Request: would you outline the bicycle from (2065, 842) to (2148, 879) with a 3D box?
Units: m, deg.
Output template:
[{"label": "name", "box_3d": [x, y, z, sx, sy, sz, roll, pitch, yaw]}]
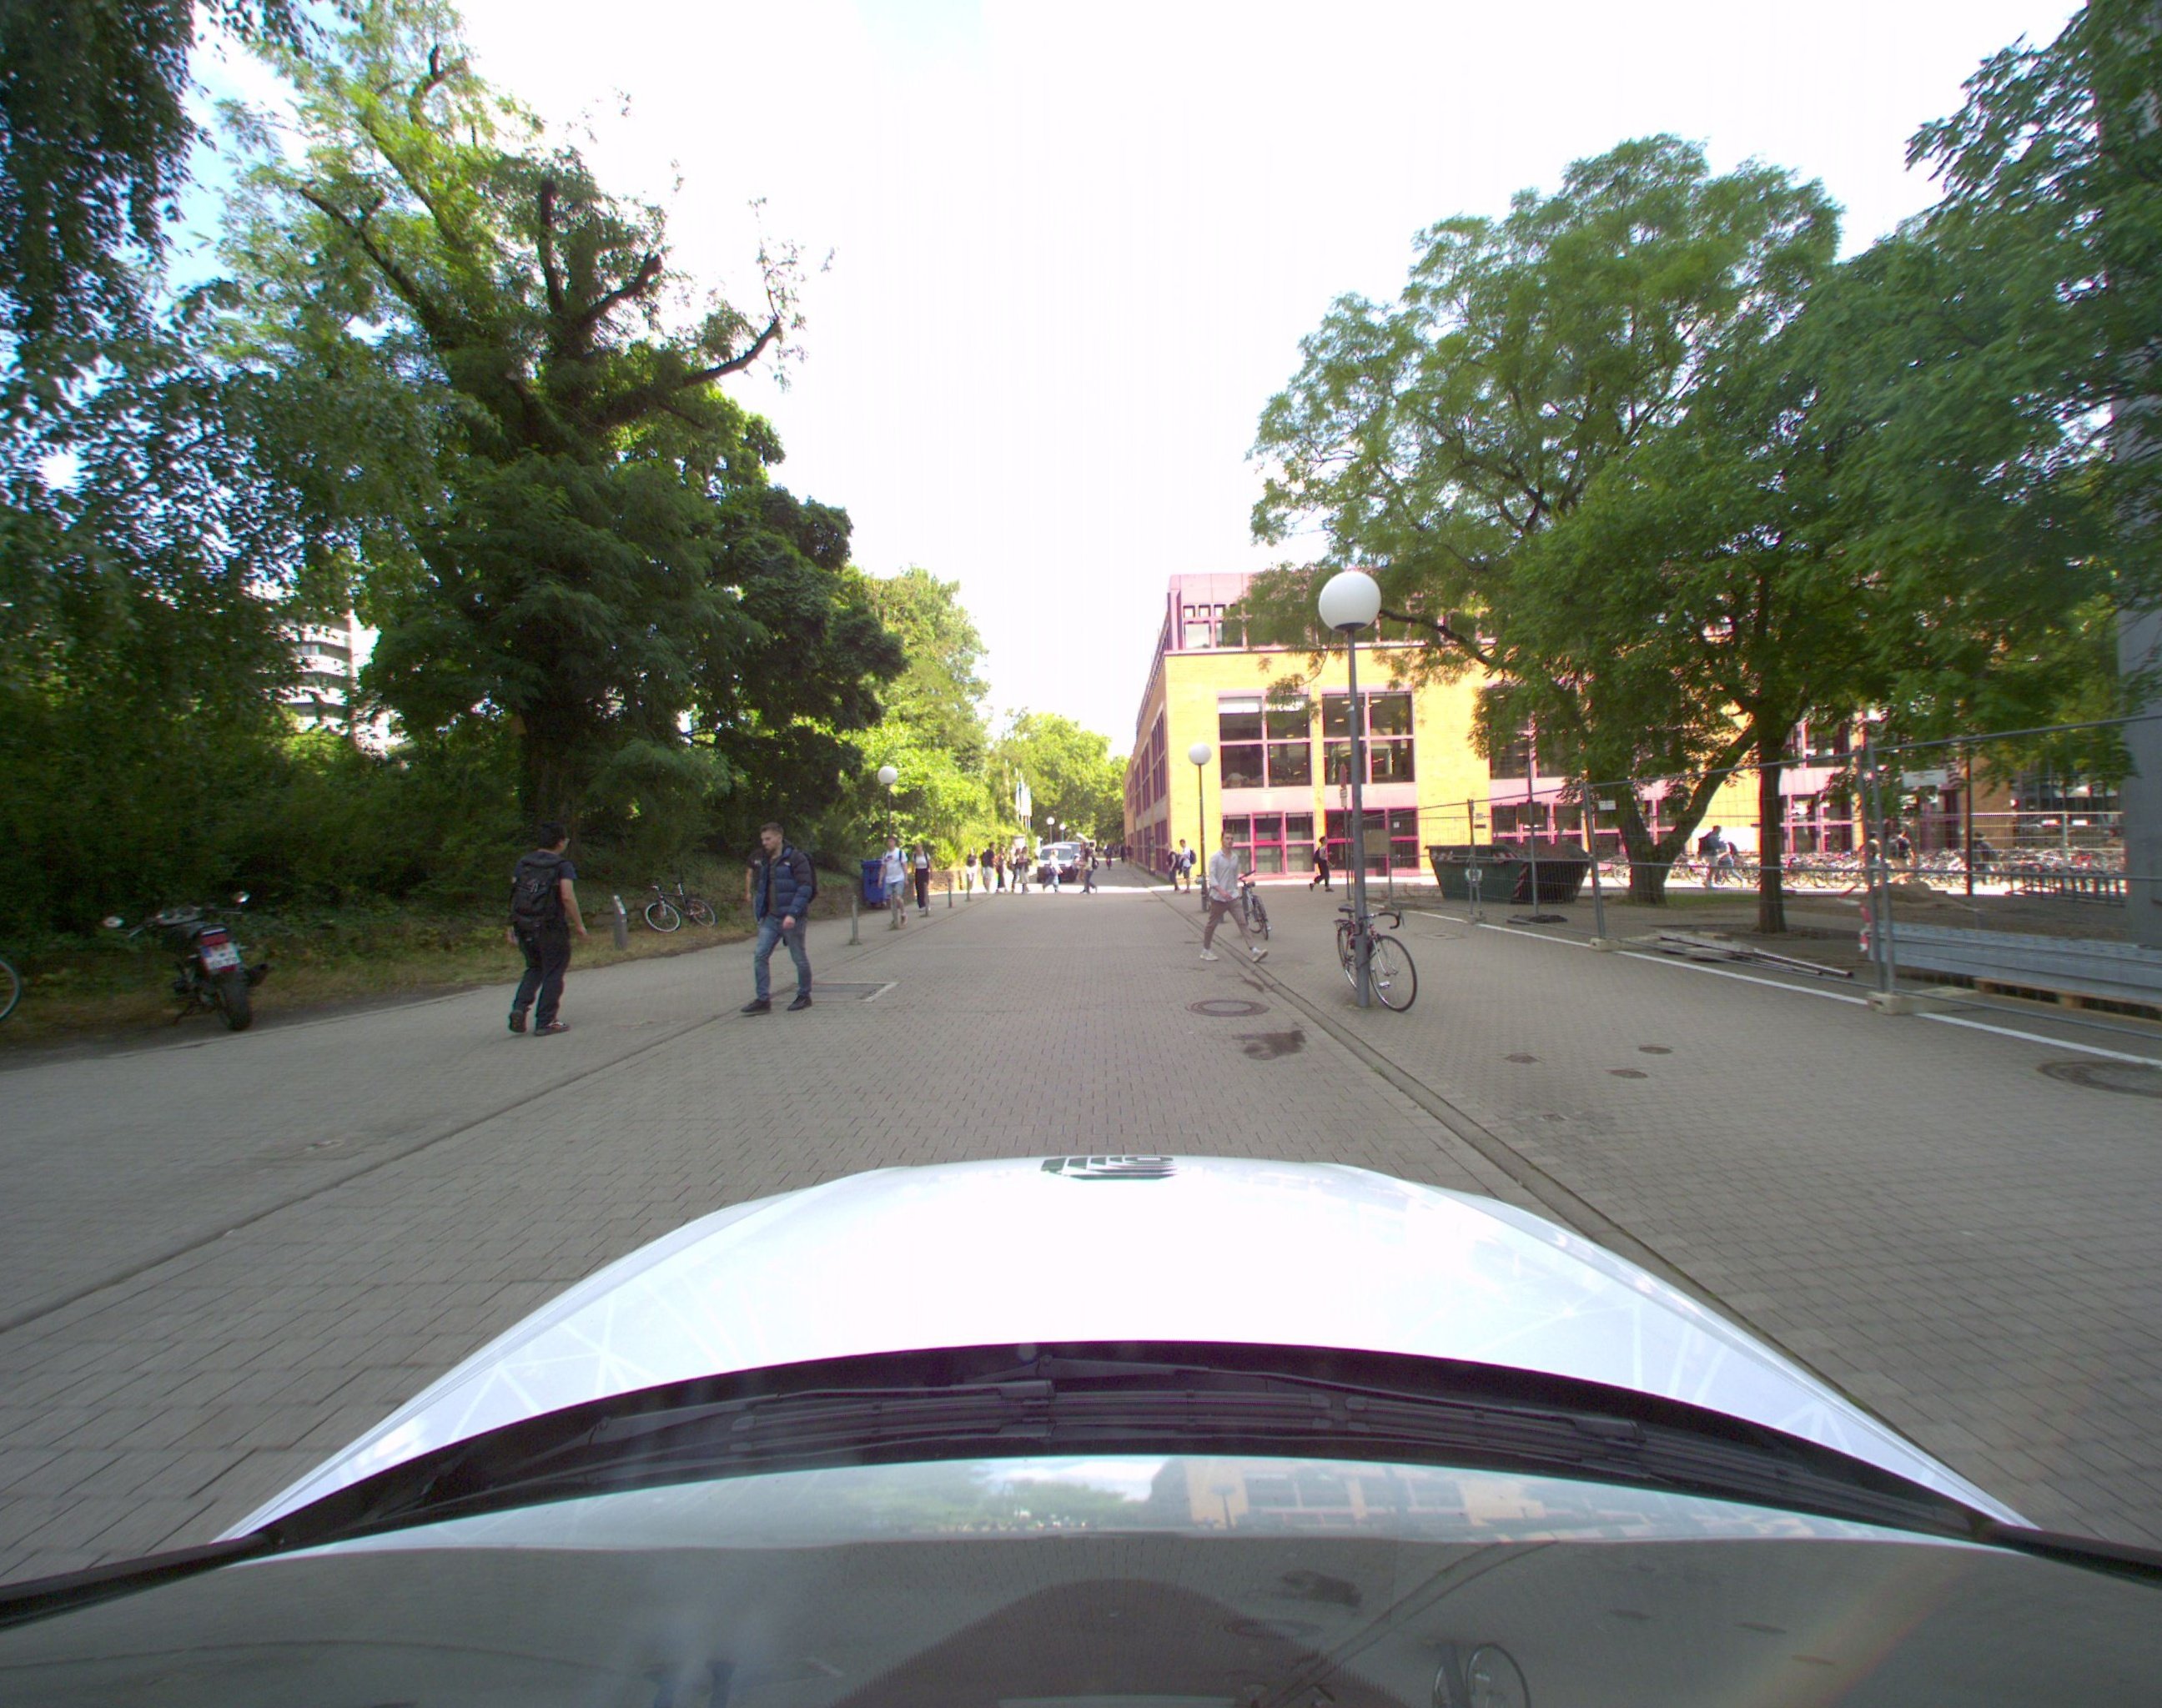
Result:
[{"label": "bicycle", "box_3d": [33.043, 0.197, 26.248, 1.989, 1.169, 0.545, 0, 0, 0]}]

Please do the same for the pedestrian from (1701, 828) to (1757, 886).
[{"label": "pedestrian", "box_3d": [18.922, 0.094, 23.798, 1.038, 1.651, 0.705, -1, -1, 8]}]

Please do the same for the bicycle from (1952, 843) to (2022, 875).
[{"label": "bicycle", "box_3d": [33.268, 0.175, 29.905, 1.989, 1.169, 0.545, 0, 0, 0]}]

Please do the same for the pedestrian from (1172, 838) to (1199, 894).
[{"label": "pedestrian", "box_3d": [3.449, 0.403, 26.826, 0.762, 1.794, 0.589, -3, -1, 9]}]

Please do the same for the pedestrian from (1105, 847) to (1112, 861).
[{"label": "pedestrian", "box_3d": [3.566, -0.005, 105.523, 0.722, 1.672, 0.749, -3, -1, 3]}]

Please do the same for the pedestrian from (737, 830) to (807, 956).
[{"label": "pedestrian", "box_3d": [-4.826, 0.586, 12.780, 0.681, 1.873, 1.119, -1, -1, -3]}]

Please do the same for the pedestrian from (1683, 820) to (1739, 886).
[{"label": "pedestrian", "box_3d": [17.197, -0.012, 22.243, 0.900, 1.728, 0.684, -2, -2, -4]}]

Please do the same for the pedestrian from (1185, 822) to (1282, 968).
[{"label": "pedestrian", "box_3d": [2.037, 0.515, 11.000, 0.786, 1.845, 1.109, -1, 0, -23]}]

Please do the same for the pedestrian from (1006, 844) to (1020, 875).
[{"label": "pedestrian", "box_3d": [-4.104, 0.340, 49.163, 0.680, 1.844, 0.783, -1, -1, 1]}]

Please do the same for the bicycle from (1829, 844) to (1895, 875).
[{"label": "bicycle", "box_3d": [29.735, 0.218, 31.006, 1.989, 1.169, 0.545, 0, 0, 0]}]

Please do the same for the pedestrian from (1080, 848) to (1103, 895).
[{"label": "pedestrian", "box_3d": [0.364, 0.596, 28.583, 0.778, 1.620, 0.684, -1, -1, -1]}]

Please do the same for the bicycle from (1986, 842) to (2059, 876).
[{"label": "bicycle", "box_3d": [33.322, 0.176, 28.832, 1.989, 1.169, 0.545, 0, 0, 0]}]

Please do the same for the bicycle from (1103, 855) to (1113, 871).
[{"label": "bicycle", "box_3d": [1.896, 0.636, 57.905, 0.585, 1.083, 1.906, -2, 0, -2]}]

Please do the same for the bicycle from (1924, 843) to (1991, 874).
[{"label": "bicycle", "box_3d": [33.397, 0.171, 31.049, 1.989, 1.169, 0.545, 0, 0, 0]}]

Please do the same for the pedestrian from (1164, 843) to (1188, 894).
[{"label": "pedestrian", "box_3d": [3.235, 0.499, 27.599, 0.692, 1.672, 0.589, -3, -1, 9]}]

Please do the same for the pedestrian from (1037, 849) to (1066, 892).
[{"label": "pedestrian", "box_3d": [-1.102, 0.597, 30.318, 0.881, 1.542, 0.745, -2, 0, 9]}]

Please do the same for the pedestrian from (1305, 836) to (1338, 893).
[{"label": "pedestrian", "box_3d": [7.140, 0.310, 24.191, 0.847, 1.651, 0.589, -1, -1, 8]}]

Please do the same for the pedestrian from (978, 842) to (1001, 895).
[{"label": "pedestrian", "box_3d": [-3.217, 0.513, 28.705, 0.680, 1.844, 0.783, -1, -1, 1]}]

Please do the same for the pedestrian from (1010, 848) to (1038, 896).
[{"label": "pedestrian", "box_3d": [-2.021, 0.633, 28.897, 0.881, 1.672, 0.560, -1, -1, 8]}]

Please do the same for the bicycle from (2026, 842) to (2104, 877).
[{"label": "bicycle", "box_3d": [33.250, 0.185, 27.529, 1.989, 1.169, 0.545, 0, 0, 0]}]

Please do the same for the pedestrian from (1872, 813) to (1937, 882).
[{"label": "pedestrian", "box_3d": [21.233, -0.160, 21.008, 0.900, 1.728, 0.684, -2, -2, -4]}]

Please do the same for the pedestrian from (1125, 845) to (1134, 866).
[{"label": "pedestrian", "box_3d": [3.798, 0.119, 63.439, 0.584, 1.672, 0.699, -3, -1, 3]}]

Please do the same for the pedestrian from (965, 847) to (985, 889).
[{"label": "pedestrian", "box_3d": [-4.123, 0.539, 31.791, 0.681, 1.620, 0.977, -1, -1, -3]}]

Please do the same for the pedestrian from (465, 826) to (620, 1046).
[{"label": "pedestrian", "box_3d": [-4.499, 0.642, 6.873, 0.682, 1.724, 0.904, -1, 0, -1]}]

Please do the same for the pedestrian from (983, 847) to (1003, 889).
[{"label": "pedestrian", "box_3d": [-3.429, 0.554, 31.851, 0.681, 1.620, 0.913, -1, -1, -3]}]

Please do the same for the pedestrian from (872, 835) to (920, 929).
[{"label": "pedestrian", "box_3d": [-3.873, 0.574, 17.127, 0.721, 1.881, 1.082, -1, -1, 1]}]

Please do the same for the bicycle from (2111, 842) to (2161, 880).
[{"label": "bicycle", "box_3d": [33.247, 0.207, 25.220, 1.989, 1.169, 0.545, 0, 0, 0]}]

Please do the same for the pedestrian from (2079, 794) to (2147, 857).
[{"label": "pedestrian", "box_3d": [29.692, -0.801, 23.455, 0.896, 1.728, 0.687, -3, -2, 11]}]

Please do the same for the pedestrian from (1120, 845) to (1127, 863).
[{"label": "pedestrian", "box_3d": [4.001, 0.026, 77.292, 0.584, 1.672, 0.818, -3, -1, 3]}]

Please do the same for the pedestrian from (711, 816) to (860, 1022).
[{"label": "pedestrian", "box_3d": [-2.899, 0.587, 8.028, 0.877, 1.857, 1.039, -1, 0, 36]}]

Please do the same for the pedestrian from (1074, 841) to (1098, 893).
[{"label": "pedestrian", "box_3d": [0.190, 0.462, 29.536, 0.823, 1.844, 0.684, -1, -1, -1]}]

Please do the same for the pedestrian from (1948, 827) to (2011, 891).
[{"label": "pedestrian", "box_3d": [24.943, 0.149, 22.622, 0.900, 1.728, 0.684, -2, -2, -4]}]

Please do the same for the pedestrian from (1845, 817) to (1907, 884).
[{"label": "pedestrian", "box_3d": [21.259, -0.086, 21.788, 0.900, 1.728, 0.684, -2, -2, -4]}]

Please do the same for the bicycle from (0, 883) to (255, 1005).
[{"label": "bicycle", "box_3d": [-9.697, 0.854, 8.311, 0.468, 1.047, 1.709, 0, 0, 23]}]

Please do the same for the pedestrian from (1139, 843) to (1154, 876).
[{"label": "pedestrian", "box_3d": [3.519, 0.311, 43.803, 0.680, 1.747, 0.783, -1, -1, 1]}]

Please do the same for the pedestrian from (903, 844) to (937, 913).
[{"label": "pedestrian", "box_3d": [-4.163, 0.619, 21.140, 0.681, 1.728, 1.001, -1, 0, -2]}]

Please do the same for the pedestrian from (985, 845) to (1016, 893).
[{"label": "pedestrian", "box_3d": [-2.930, 0.550, 29.605, 0.881, 1.672, 0.645, -4, 1, 8]}]
